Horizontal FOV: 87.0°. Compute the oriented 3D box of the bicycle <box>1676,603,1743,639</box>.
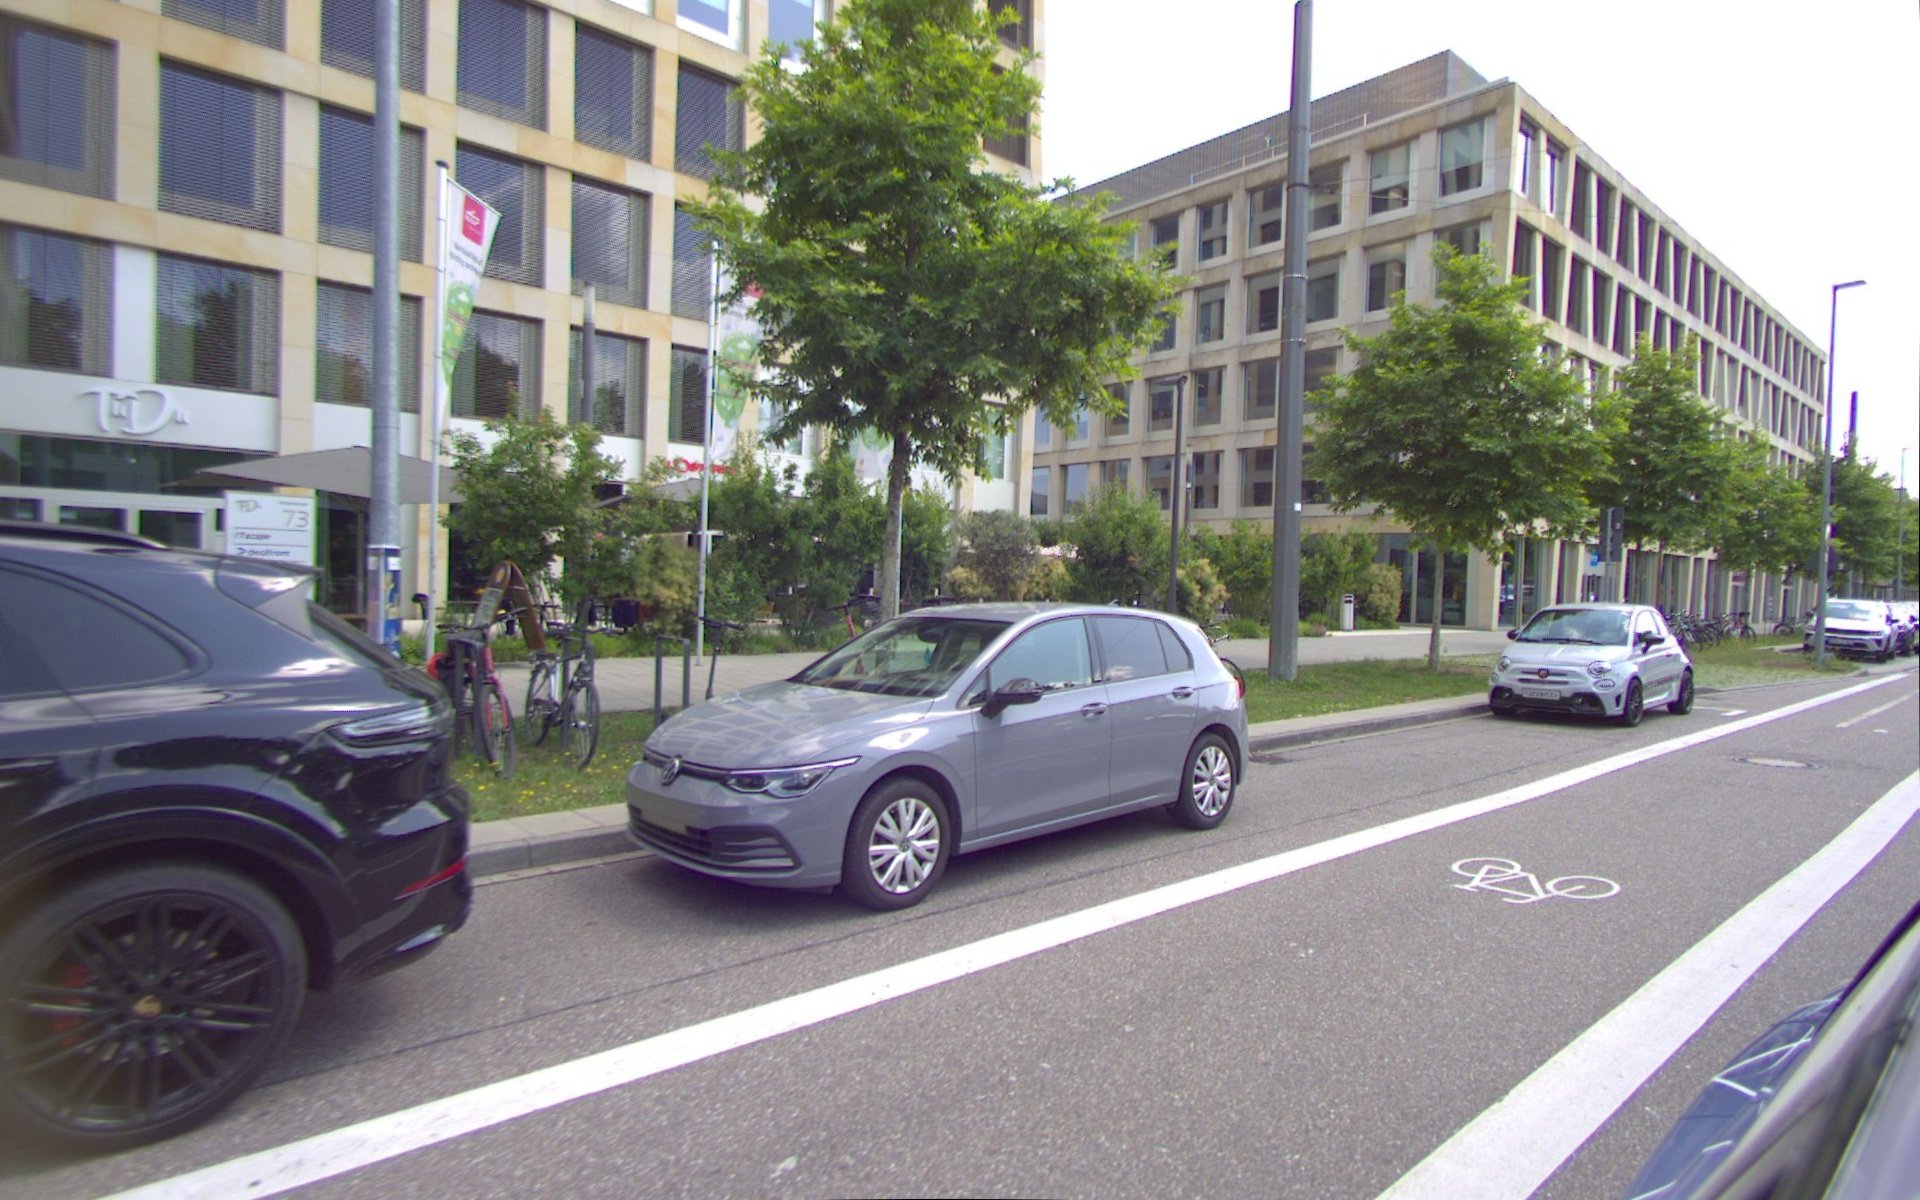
[{"bbox_3d":[21.922,0.606,29.631,0.496,0.928,1.500,-3,4,-37],"label":"bicycle"}]

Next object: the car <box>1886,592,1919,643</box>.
[{"bbox_3d":[32.969,0.601,34.377,4.078,1.625,1.689,0,3,-40],"label":"car"}]

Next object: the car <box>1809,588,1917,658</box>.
[{"bbox_3d":[24.407,0.571,27.310,3.922,1.653,1.689,0,4,-42],"label":"car"}]

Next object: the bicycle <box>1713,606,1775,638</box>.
[{"bbox_3d":[25.514,0.707,32.948,0.496,0.928,1.500,-3,4,-37],"label":"bicycle"}]

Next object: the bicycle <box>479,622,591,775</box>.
[{"bbox_3d":[-3.442,0.730,8.120,0.320,0.998,1.756,0,2,-40],"label":"bicycle"}]

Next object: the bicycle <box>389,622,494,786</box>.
[{"bbox_3d":[-3.935,0.723,7.626,0.320,0.998,1.756,0,2,-40],"label":"bicycle"}]

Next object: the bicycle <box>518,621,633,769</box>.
[{"bbox_3d":[-3.210,0.728,8.367,0.320,0.998,1.756,0,2,-40],"label":"bicycle"}]

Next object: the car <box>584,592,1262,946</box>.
[{"bbox_3d":[0.034,0.697,6.116,4.036,1.453,1.593,0,0,-42],"label":"car"}]

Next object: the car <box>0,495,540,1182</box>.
[{"bbox_3d":[-3.738,0.581,2.422,4.757,1.691,1.740,0,0,-42],"label":"car"}]

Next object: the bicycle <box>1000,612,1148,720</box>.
[{"bbox_3d":[1.308,0.735,11.978,0.673,1.089,1.830,0,2,-36],"label":"bicycle"}]

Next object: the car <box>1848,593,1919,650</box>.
[{"bbox_3d":[28.502,0.612,30.754,3.857,1.567,1.689,0,3,-40],"label":"car"}]

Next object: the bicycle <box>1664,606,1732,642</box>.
[{"bbox_3d":[21.260,0.680,29.173,0.496,0.928,1.500,-3,4,-37],"label":"bicycle"}]

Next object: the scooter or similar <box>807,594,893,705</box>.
[{"bbox_3d":[-1.267,0.548,11.712,0.997,1.230,0.259,0,1,-41],"label":"scooter or similar"}]

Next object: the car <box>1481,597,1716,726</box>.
[{"bbox_3d":[8.548,0.714,13.456,3.547,1.479,1.595,0,0,-39],"label":"car"}]

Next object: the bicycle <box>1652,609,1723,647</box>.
[{"bbox_3d":[20.099,0.762,27.973,0.496,0.928,1.500,-3,4,-37],"label":"bicycle"}]

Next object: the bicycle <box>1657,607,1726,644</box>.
[{"bbox_3d":[20.630,0.718,28.560,0.496,0.928,1.500,-3,4,-37],"label":"bicycle"}]

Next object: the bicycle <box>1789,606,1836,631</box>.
[{"bbox_3d":[33.835,0.723,40.189,0.265,0.886,1.387,-3,4,-37],"label":"bicycle"}]

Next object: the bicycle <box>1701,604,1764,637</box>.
[{"bbox_3d":[24.114,0.635,31.608,0.496,0.928,1.500,-3,4,-37],"label":"bicycle"}]

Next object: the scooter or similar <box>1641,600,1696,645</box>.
[{"bbox_3d":[19.445,0.606,27.781,0.705,1.190,1.055,0,1,-36],"label":"scooter or similar"}]

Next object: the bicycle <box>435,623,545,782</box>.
[{"bbox_3d":[-3.678,0.734,7.851,0.320,0.998,1.756,0,2,-40],"label":"bicycle"}]

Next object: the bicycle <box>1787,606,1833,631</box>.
[{"bbox_3d":[33.594,0.723,40.009,0.265,0.886,1.387,-3,4,-37],"label":"bicycle"}]

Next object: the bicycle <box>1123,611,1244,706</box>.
[{"bbox_3d":[2.912,0.734,13.369,0.270,1.089,1.830,0,2,-36],"label":"bicycle"}]

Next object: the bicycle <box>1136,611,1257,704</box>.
[{"bbox_3d":[3.122,0.734,13.534,0.270,1.089,1.830,0,2,-36],"label":"bicycle"}]
